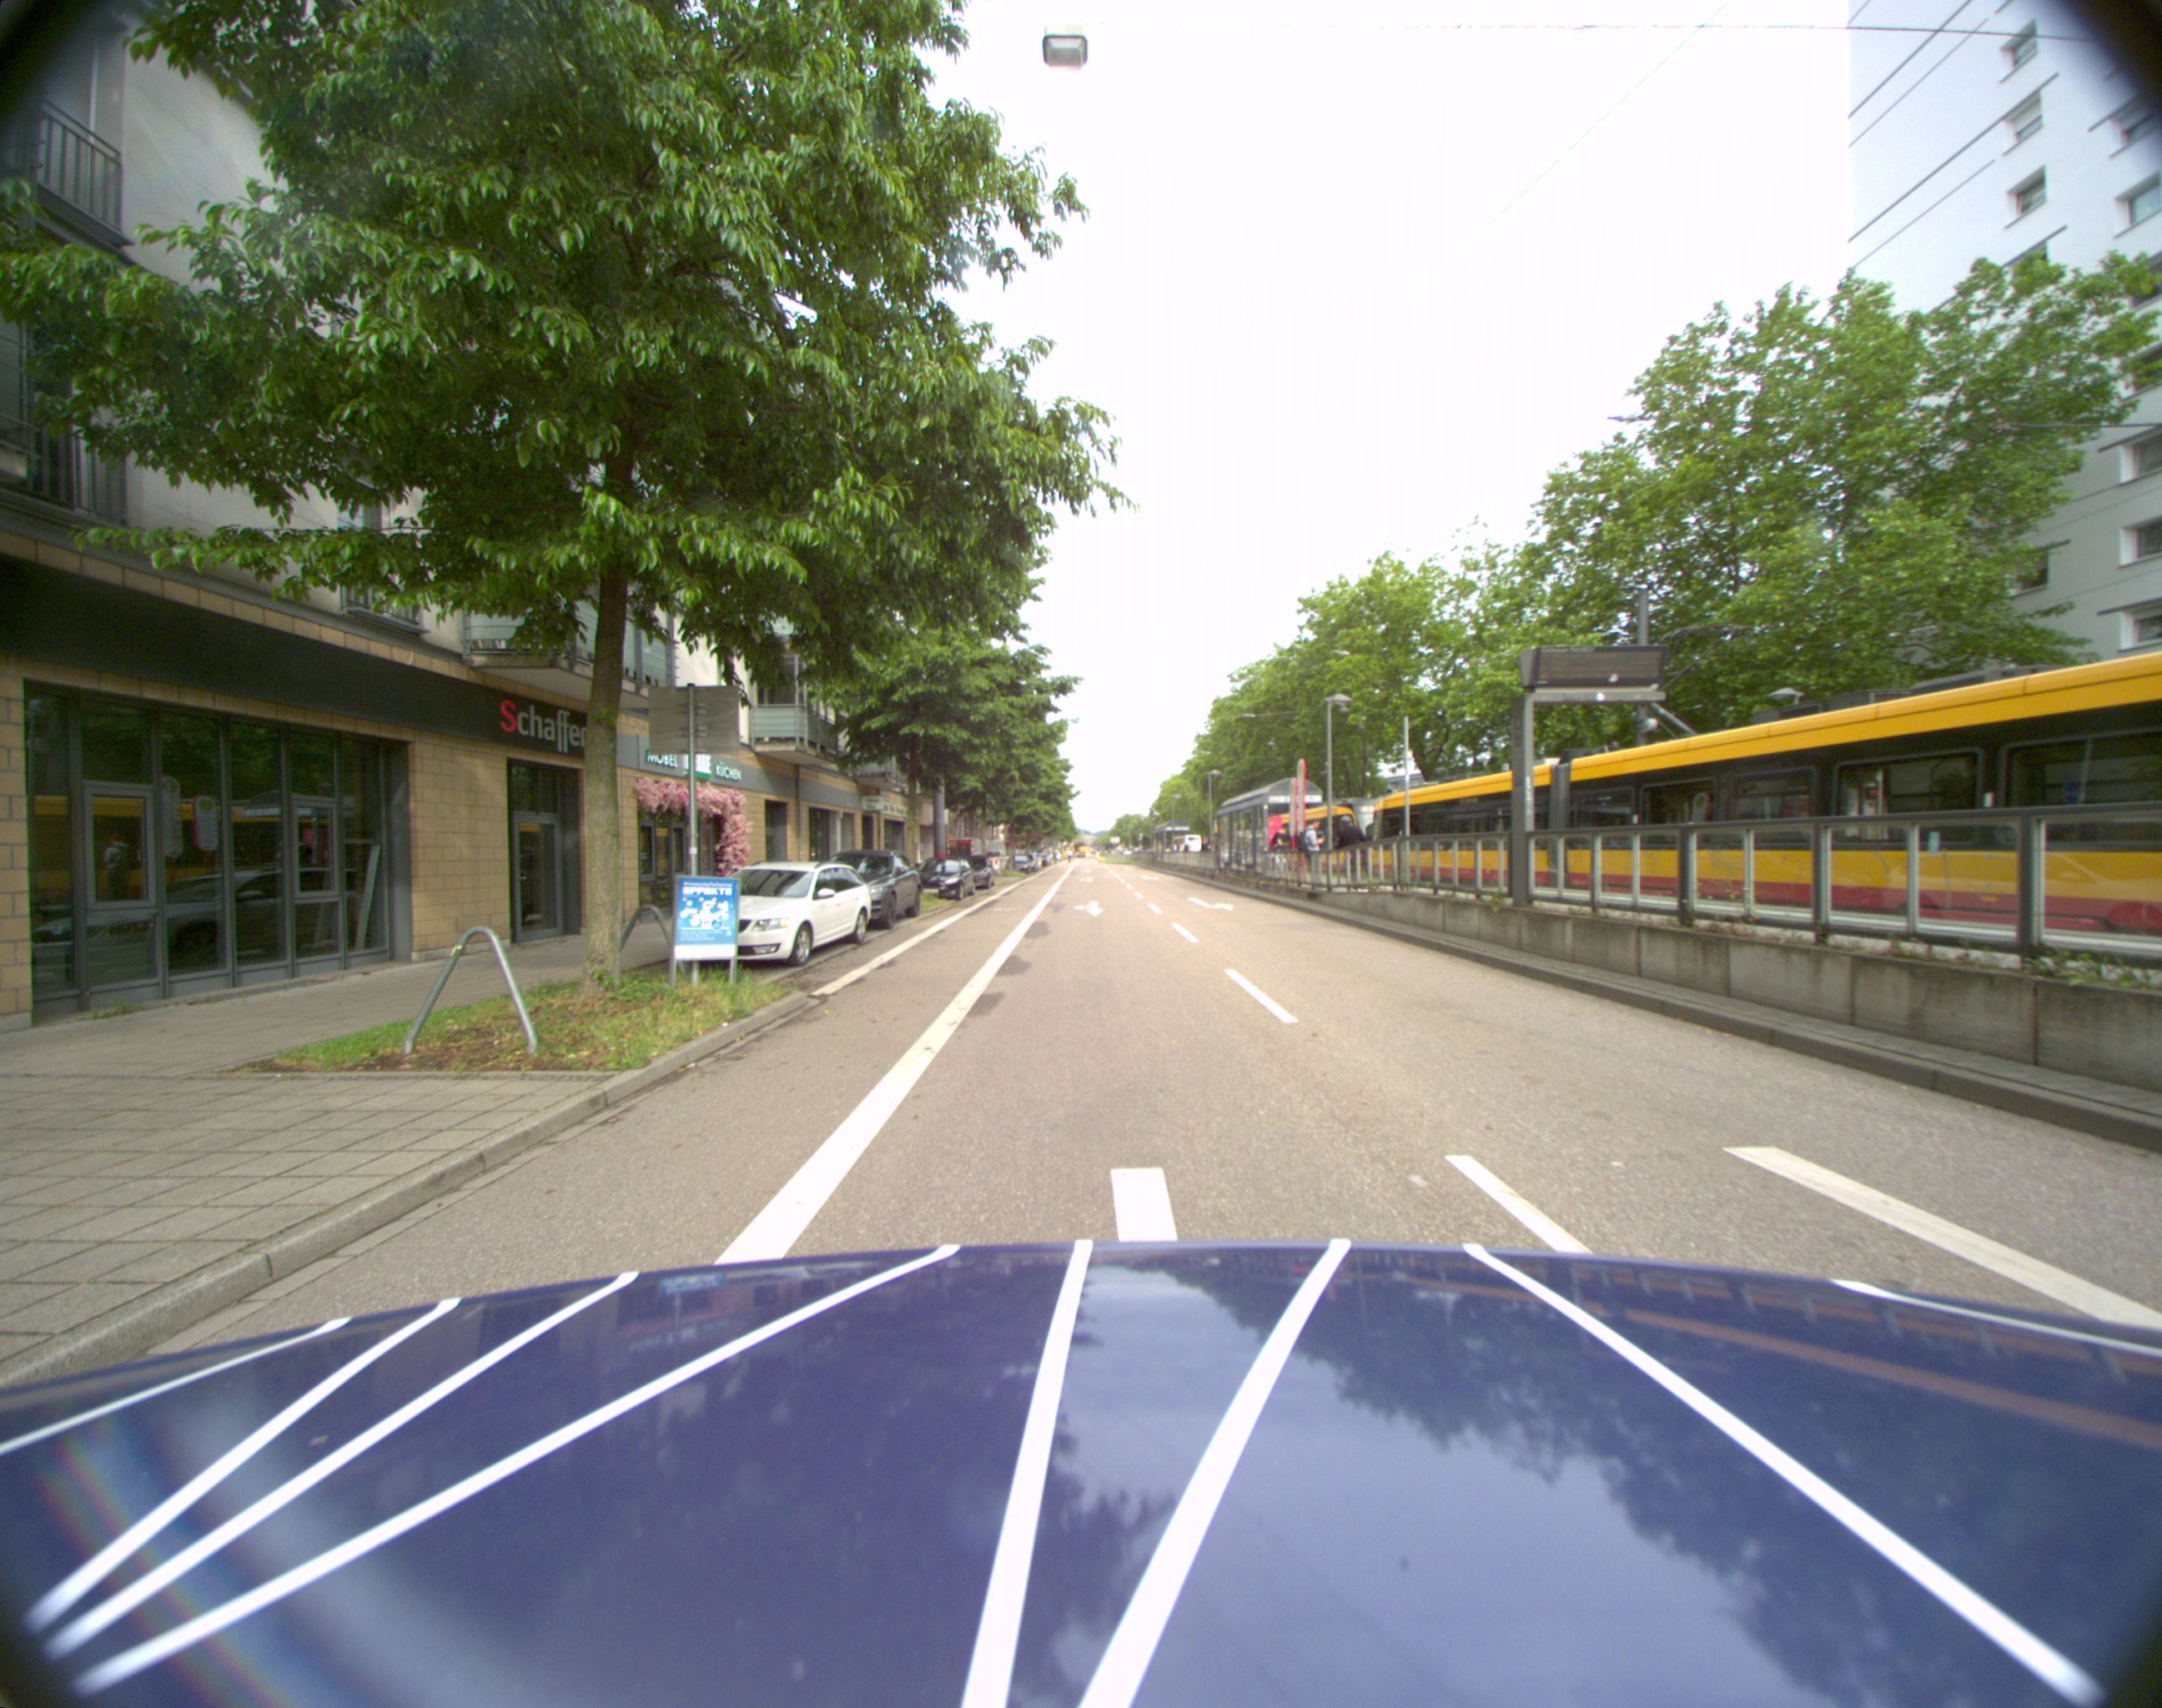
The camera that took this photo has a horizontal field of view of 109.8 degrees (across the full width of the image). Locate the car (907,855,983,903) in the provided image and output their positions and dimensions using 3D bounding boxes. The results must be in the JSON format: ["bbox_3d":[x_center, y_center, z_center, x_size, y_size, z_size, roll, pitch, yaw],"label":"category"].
[{"bbox_3d":[-4.632,0.803,26.501,1.680,1.433,4.407,2,1,2],"label":"car"}]

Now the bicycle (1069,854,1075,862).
[{"bbox_3d":[-1.220,0.538,101.353,0.613,1.116,2.050,-2,1,1],"label":"bicycle"}]

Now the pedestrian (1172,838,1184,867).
[{"bbox_3d":[6.766,-0.111,52.865,0.676,2.002,0.588,-2,1,-2],"label":"pedestrian"}]

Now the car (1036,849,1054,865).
[{"bbox_3d":[-4.124,0.322,87.245,1.837,1.686,3.761,1,1,0],"label":"car"}]

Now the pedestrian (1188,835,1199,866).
[{"bbox_3d":[5.973,-0.197,40.418,0.480,1.623,0.392,-2,1,2],"label":"pedestrian"}]

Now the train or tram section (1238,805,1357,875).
[{"bbox_3d":[12.985,-0.838,47.770,3.067,3.511,15.769,-2,1,1],"label":"train or tram section"}]

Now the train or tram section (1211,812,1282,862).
[{"bbox_3d":[13.178,-1.358,61.919,3.100,3.541,12.537,-2,1,1],"label":"train or tram section"}]

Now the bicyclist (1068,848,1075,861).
[{"bbox_3d":[-1.278,0.064,101.384,0.751,1.777,0.838,-2,1,1],"label":"bicyclist"}]

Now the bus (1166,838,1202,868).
[{"bbox_3d":[7.336,-0.095,54.587,1.998,2.002,3.999,-2,1,1],"label":"bus"}]

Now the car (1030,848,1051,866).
[{"bbox_3d":[-4.122,0.316,77.952,1.837,1.720,4.279,1,1,0],"label":"car"}]

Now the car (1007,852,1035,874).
[{"bbox_3d":[-4.358,0.638,55.648,1.755,1.452,4.279,1,1,0],"label":"car"}]

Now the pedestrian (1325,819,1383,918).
[{"bbox_3d":[5.742,0.285,15.995,0.756,2.002,0.816,-3,2,-36],"label":"pedestrian"}]

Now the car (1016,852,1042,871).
[{"bbox_3d":[-4.192,0.587,61.497,1.755,1.452,4.279,1,1,0],"label":"car"}]

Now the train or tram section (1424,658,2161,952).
[{"bbox_3d":[12.614,-0.712,16.934,3.067,3.511,15.292,-2,1,1],"label":"train or tram section"}]

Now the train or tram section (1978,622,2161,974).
[{"bbox_3d":[12.435,-0.529,1.357,3.067,3.568,15.847,-2,1,1],"label":"train or tram section"}]

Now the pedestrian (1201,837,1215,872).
[{"bbox_3d":[5.966,0.016,35.813,0.513,1.623,0.730,-2,1,2],"label":"pedestrian"}]

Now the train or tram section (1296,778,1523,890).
[{"bbox_3d":[12.809,-0.760,32.246,3.067,3.511,15.292,-2,1,1],"label":"train or tram section"}]

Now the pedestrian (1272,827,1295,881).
[{"bbox_3d":[6.213,-0.002,23.349,0.532,1.623,0.471,-2,1,-2],"label":"pedestrian"}]

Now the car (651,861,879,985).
[{"bbox_3d":[-4.722,0.922,12.132,1.680,1.490,4.390,2,1,2],"label":"car"}]

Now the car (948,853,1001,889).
[{"bbox_3d":[-4.720,0.712,34.227,1.802,1.447,4.387,2,1,-1],"label":"car"}]

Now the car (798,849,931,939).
[{"bbox_3d":[-4.760,0.788,17.428,1.716,1.707,4.710,2,1,-1],"label":"car"}]

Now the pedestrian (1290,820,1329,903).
[{"bbox_3d":[5.678,0.180,18.857,0.753,2.002,0.819,-2,1,24],"label":"pedestrian"}]

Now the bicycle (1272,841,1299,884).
[{"bbox_3d":[6.007,0.244,22.351,0.420,1.215,1.289,-2,1,0],"label":"bicycle"}]
